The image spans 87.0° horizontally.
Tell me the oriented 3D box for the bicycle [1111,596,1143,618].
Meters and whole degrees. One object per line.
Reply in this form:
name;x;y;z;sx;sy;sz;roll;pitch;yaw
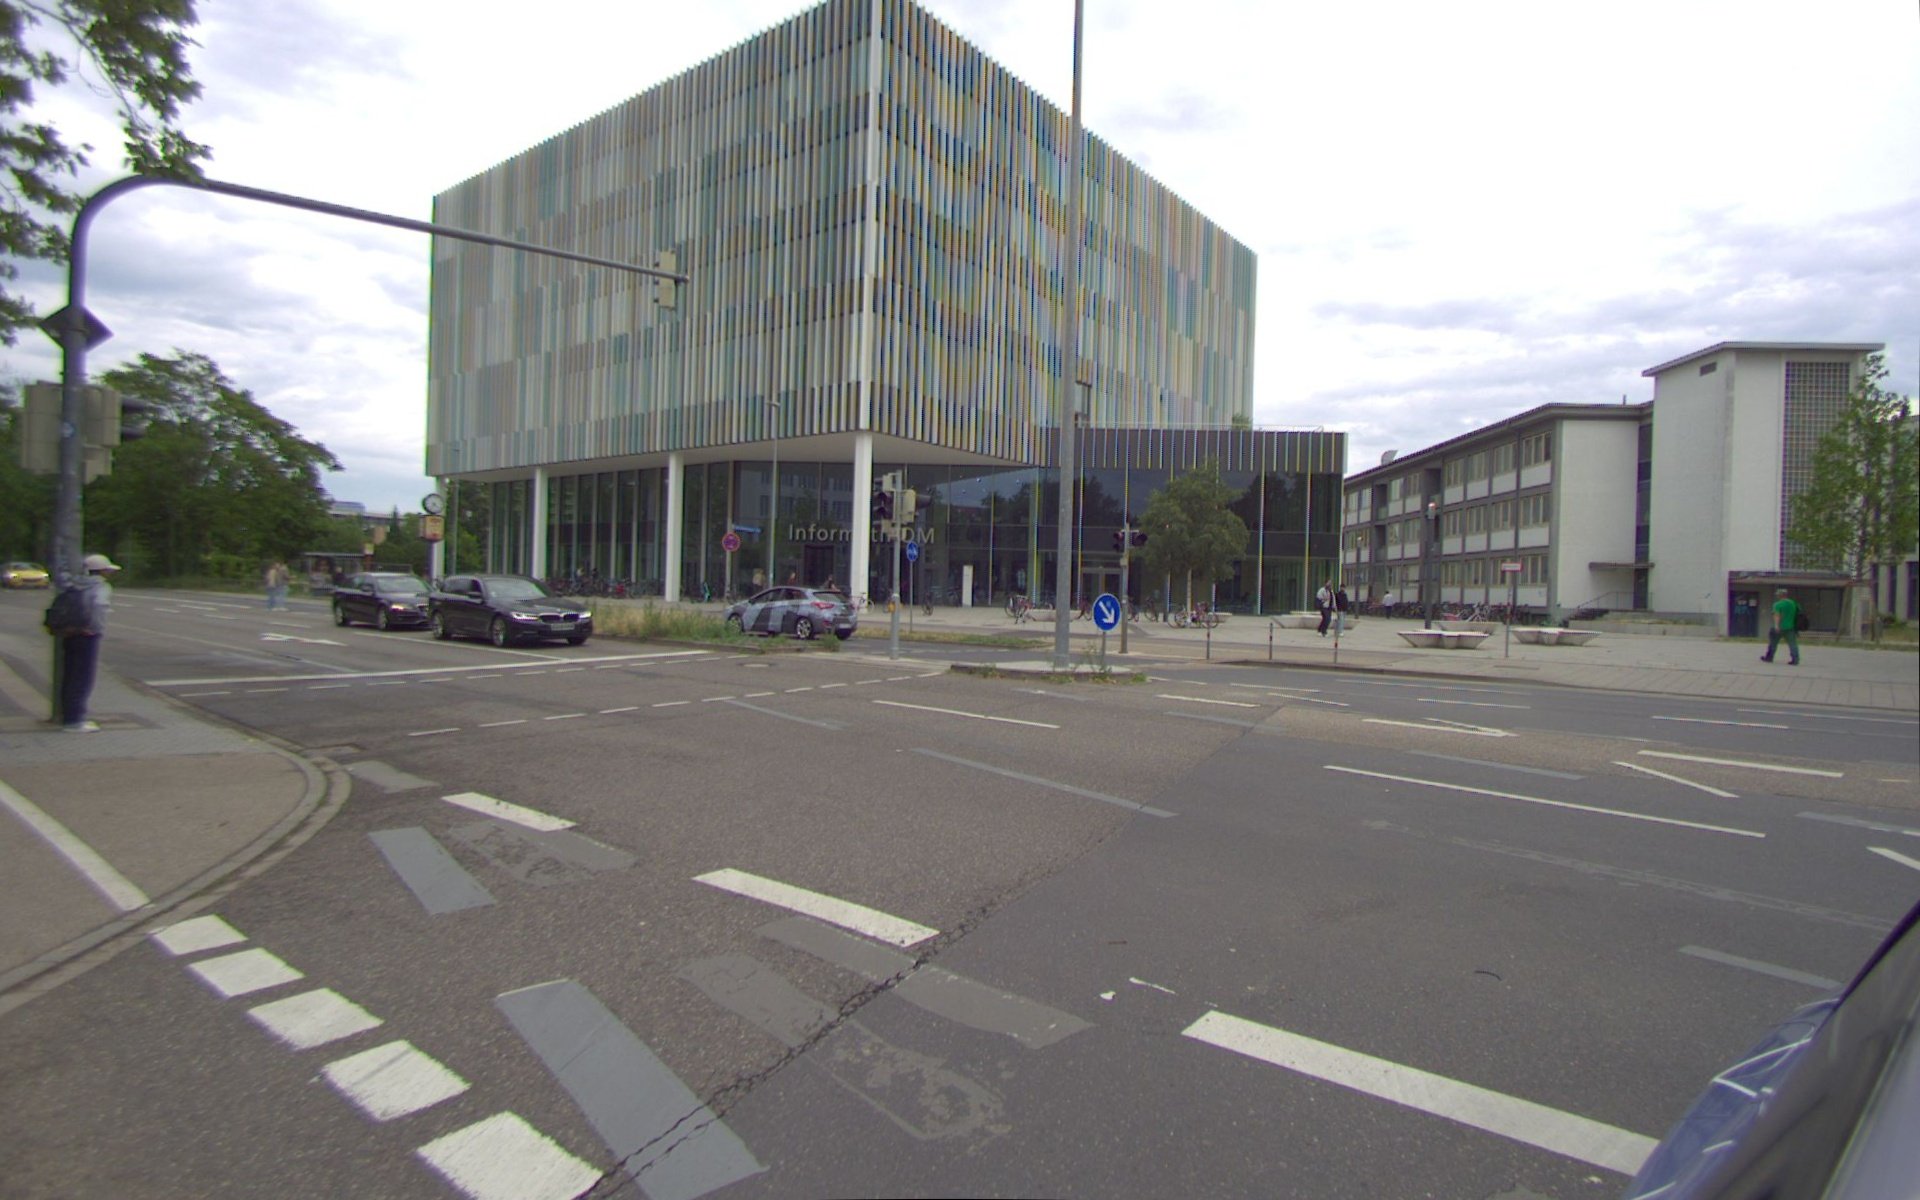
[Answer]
bicycle;7.482;0.299;45.501;0.474;0.947;2.014;1;1;-20

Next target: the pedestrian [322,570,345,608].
pedestrian;-30.564;-0.550;49.342;0.586;1.832;0.797;1;0;42

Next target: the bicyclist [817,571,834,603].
bicyclist;-6.178;-0.595;46.531;0.594;1.487;0.484;1;0;-34

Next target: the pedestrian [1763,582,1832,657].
pedestrian;19.947;0.464;24.119;0.931;1.737;0.907;2;-2;-16

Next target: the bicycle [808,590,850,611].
bicycle;-6.030;0.036;46.655;1.879;0.937;0.484;0;0;-35

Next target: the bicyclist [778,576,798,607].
bicyclist;-8.077;-0.404;47.504;0.608;1.400;0.717;1;0;-42

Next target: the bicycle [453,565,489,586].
bicycle;-32.720;-1.652;67.711;0.625;1.275;2.076;0;-3;36

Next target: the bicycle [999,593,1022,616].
bicycle;2.235;0.198;45.084;0.474;0.947;2.014;1;1;-12

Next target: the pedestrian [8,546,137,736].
pedestrian;-8.108;0.357;9.284;0.779;1.647;0.757;3;0;-38

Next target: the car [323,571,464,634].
car;-14.741;0.024;26.261;3.984;1.471;1.970;2;1;41

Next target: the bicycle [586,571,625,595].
bicycle;-20.487;-0.980;58.541;0.625;1.275;2.076;0;-3;36

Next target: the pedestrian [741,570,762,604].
pedestrian;-11.228;-0.688;54.608;0.759;1.810;0.791;2;1;40

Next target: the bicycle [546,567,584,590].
bicycle;-23.686;-1.275;60.713;0.625;1.275;2.076;0;-3;36

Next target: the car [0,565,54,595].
car;-53.574;-1.157;57.970;4.177;1.638;1.970;1;0;41

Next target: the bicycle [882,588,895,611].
bicycle;-3.372;-0.024;47.905;0.474;1.058;1.917;1;1;-1

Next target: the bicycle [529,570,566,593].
bicycle;-25.062;-1.103;61.517;0.625;1.275;2.076;0;-3;36

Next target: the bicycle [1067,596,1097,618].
bicycle;5.400;0.299;44.955;0.474;0.947;2.014;1;1;-20

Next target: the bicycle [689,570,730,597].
bicycle;-12.981;-0.827;52.484;0.626;1.275;2.071;-1;-3;42

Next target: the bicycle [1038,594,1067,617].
bicycle;4.090;0.252;44.796;0.474;0.947;2.014;1;1;-20

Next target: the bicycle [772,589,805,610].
bicycle;-8.048;-0.046;47.492;0.608;0.937;1.913;1;1;-42

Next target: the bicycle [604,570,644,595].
bicycle;-19.143;-0.971;57.643;0.626;1.275;2.071;-1;-3;42

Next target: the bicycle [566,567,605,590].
bicycle;-22.136;-1.259;59.850;0.625;1.275;2.076;0;-3;36

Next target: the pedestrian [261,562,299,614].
pedestrian;-24.336;-0.434;36.226;0.881;1.811;0.712;1;0;14

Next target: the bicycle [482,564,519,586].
bicycle;-29.784;-1.639;65.588;0.625;1.275;2.076;0;-3;36

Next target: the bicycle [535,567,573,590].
bicycle;-24.497;-1.286;61.114;0.625;1.275;2.076;0;-3;36

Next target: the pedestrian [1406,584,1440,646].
pedestrian;12.724;0.406;27.830;0.606;1.687;0.625;1;-1;-2

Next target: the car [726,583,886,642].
car;-4.332;0.310;28.358;4.197;1.486;1.977;2;1;33

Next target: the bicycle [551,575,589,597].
bicycle;-23.215;-0.809;60.230;0.625;1.275;2.077;1;1;36

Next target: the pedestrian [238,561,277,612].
pedestrian;-25.277;-0.484;36.413;0.881;1.811;0.712;1;0;14

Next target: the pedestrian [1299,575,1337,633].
pedestrian;11.311;0.112;32.003;0.829;1.811;0.895;1;0;-4

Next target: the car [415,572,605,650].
car;-9.715;0.161;21.729;4.269;1.508;1.973;1;2;38

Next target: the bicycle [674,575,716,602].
bicycle;-13.922;-0.579;53.243;0.626;1.275;2.071;-1;-3;42

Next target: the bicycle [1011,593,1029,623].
bicycle;2.238;0.269;37.636;0.476;1.058;1.779;1;1;9

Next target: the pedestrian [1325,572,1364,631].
pedestrian;12.166;0.035;32.056;0.829;1.811;0.895;1;0;-4

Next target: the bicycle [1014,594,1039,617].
bicycle;2.956;0.223;45.166;0.537;0.947;2.014;1;1;-12

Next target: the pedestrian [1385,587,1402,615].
pedestrian;28.754;0.064;67.143;0.762;1.811;0.761;1;0;4

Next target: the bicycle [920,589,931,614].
bicycle;-1.548;0.052;45.424;0.474;1.058;1.917;1;1;-1

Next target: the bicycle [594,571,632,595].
bicycle;-19.938;-0.976;58.170;0.625;1.275;2.076;0;-3;36
